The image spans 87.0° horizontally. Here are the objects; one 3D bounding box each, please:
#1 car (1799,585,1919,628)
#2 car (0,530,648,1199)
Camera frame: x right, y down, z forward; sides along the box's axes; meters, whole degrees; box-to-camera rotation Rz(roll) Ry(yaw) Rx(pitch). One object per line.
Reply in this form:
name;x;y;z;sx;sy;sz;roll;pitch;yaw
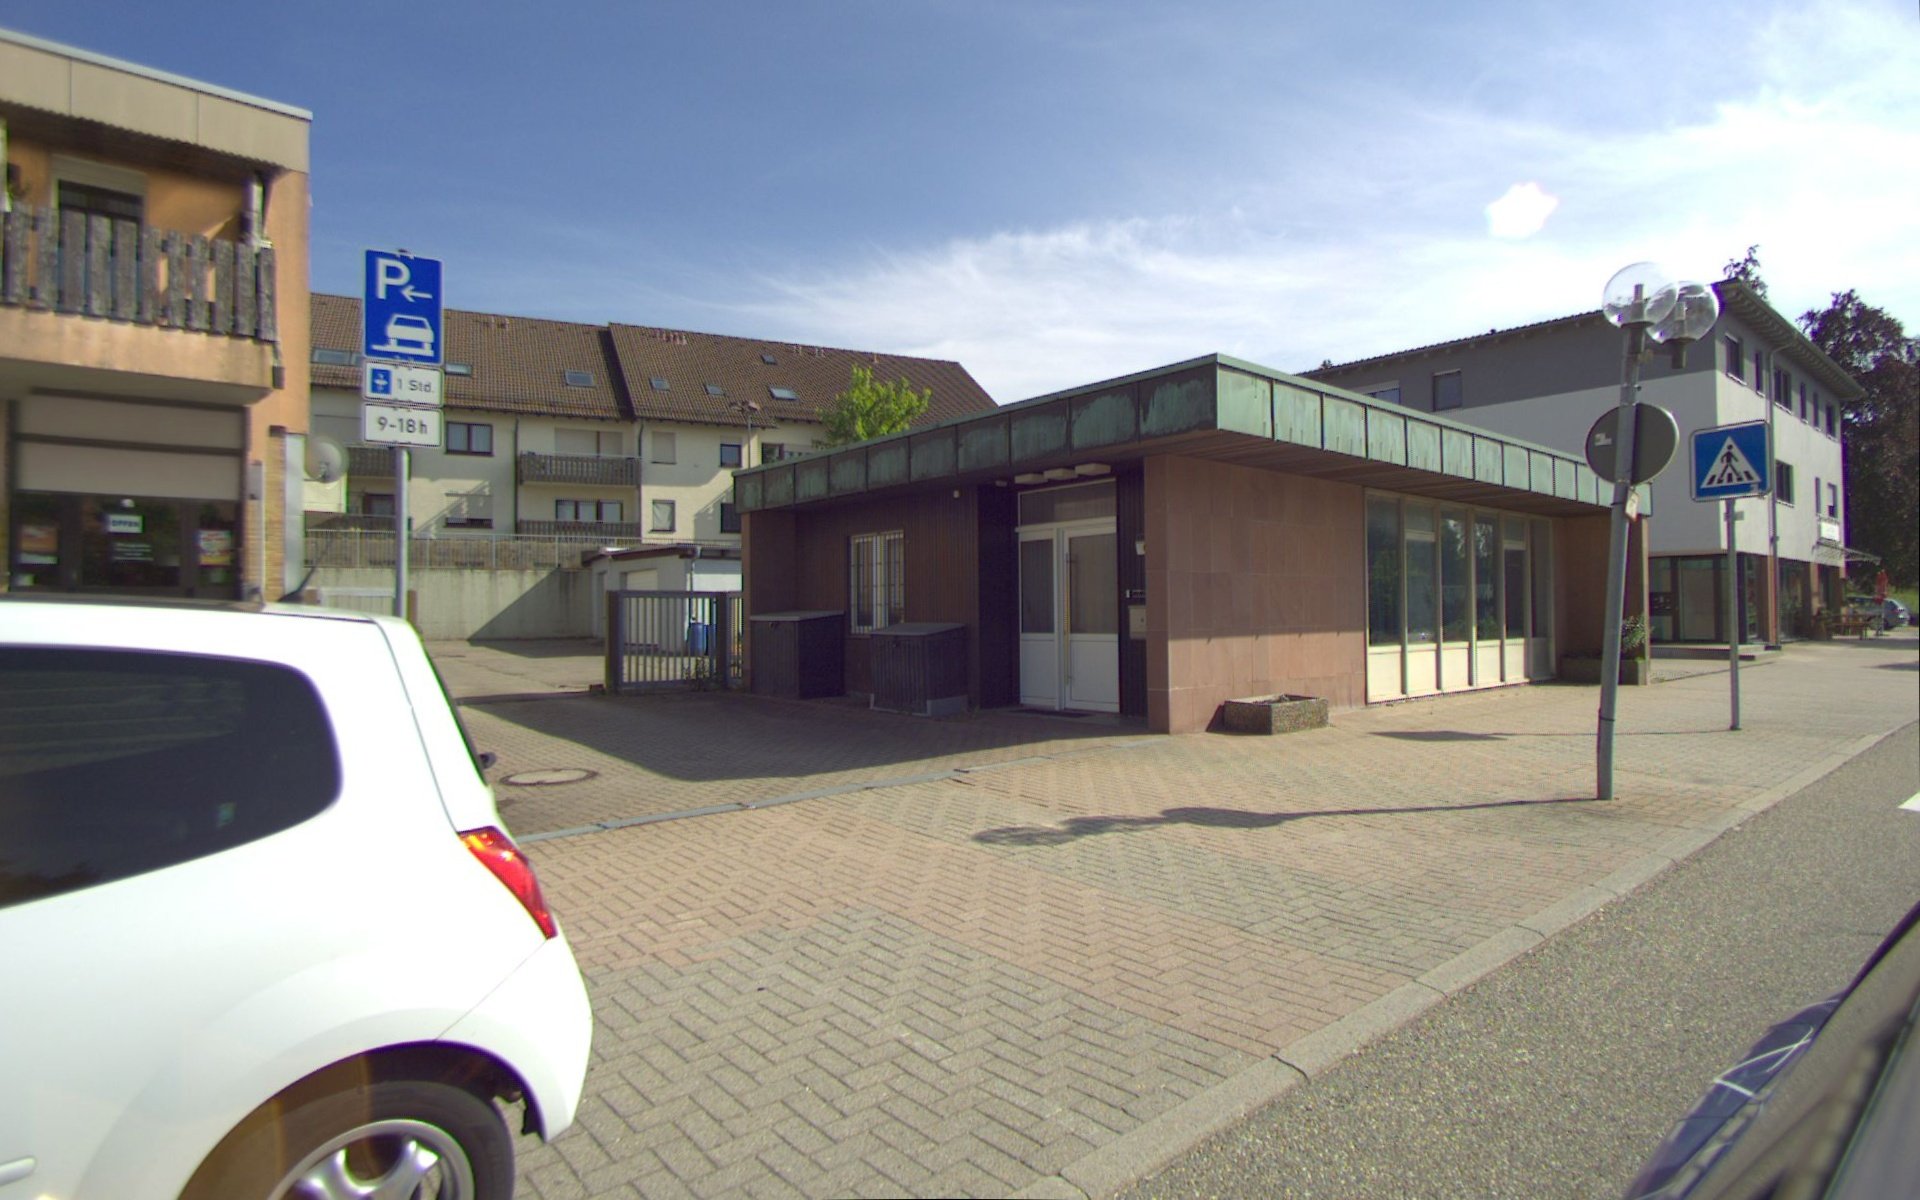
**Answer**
car;39.063;0.228;43.634;1.867;1.526;4.005;-1;4;-32
car;-2.580;0.591;1.628;3.570;1.441;1.764;0;1;-41
